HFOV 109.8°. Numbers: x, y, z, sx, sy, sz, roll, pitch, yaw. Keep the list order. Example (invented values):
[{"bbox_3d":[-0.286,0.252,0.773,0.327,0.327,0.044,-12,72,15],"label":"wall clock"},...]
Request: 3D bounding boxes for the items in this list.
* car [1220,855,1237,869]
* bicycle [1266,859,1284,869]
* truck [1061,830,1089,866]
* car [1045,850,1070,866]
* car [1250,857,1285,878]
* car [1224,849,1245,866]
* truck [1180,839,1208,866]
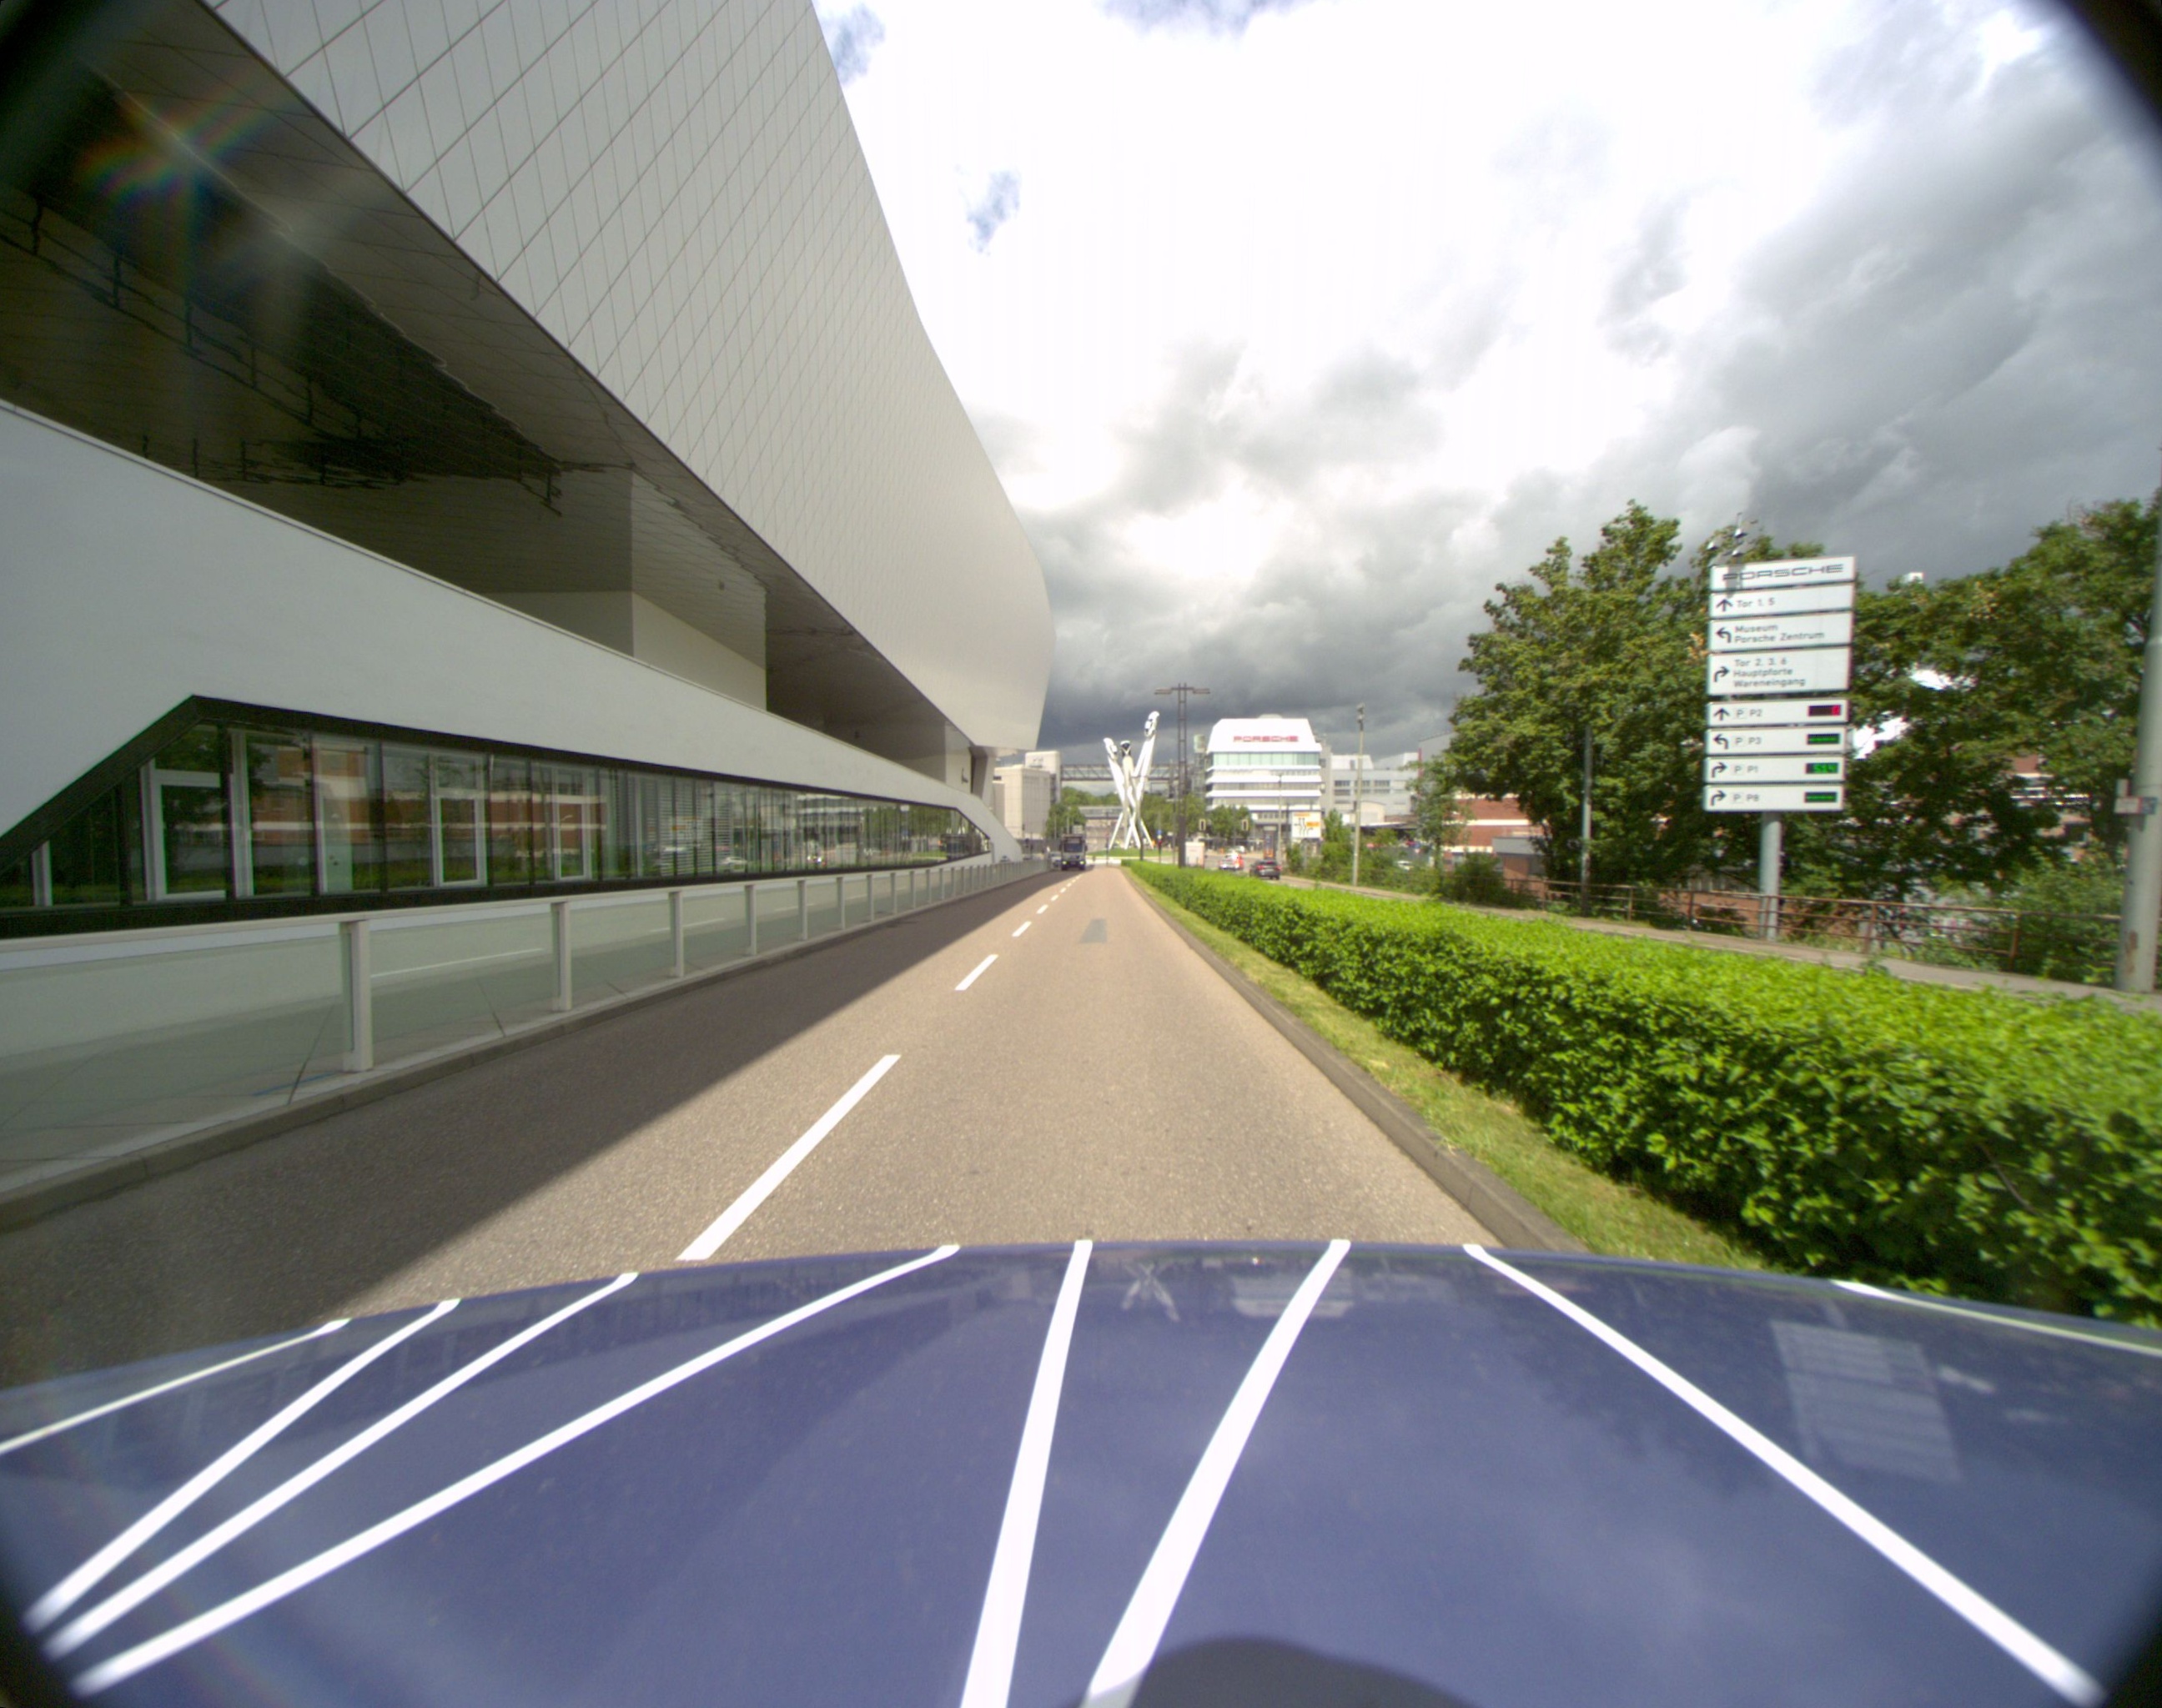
[{"bbox_3d":[16.357,0.848,84.168,1.799,1.414,4.496,1,1,12],"label":"car"},{"bbox_3d":[22.491,1.155,88.086,2.041,1.161,0.621,0,1,11],"label":"bicycle"},{"bbox_3d":[-0.752,-0.664,82.036,2.843,3.669,10.750,0,1,-1],"label":"truck"},{"bbox_3d":[-3.206,0.506,101.128,2.165,1.899,5.297,-1,1,-15],"label":"car"},{"bbox_3d":[14.063,0.969,57.488,1.843,1.499,4.563,0,0,5],"label":"car"},{"bbox_3d":[18.348,0.412,90.716,1.996,1.946,4.633,0,1,17],"label":"car"},{"bbox_3d":[12.932,-0.040,87.431,2.861,2.840,9.384,0,-1,7],"label":"truck"}]
